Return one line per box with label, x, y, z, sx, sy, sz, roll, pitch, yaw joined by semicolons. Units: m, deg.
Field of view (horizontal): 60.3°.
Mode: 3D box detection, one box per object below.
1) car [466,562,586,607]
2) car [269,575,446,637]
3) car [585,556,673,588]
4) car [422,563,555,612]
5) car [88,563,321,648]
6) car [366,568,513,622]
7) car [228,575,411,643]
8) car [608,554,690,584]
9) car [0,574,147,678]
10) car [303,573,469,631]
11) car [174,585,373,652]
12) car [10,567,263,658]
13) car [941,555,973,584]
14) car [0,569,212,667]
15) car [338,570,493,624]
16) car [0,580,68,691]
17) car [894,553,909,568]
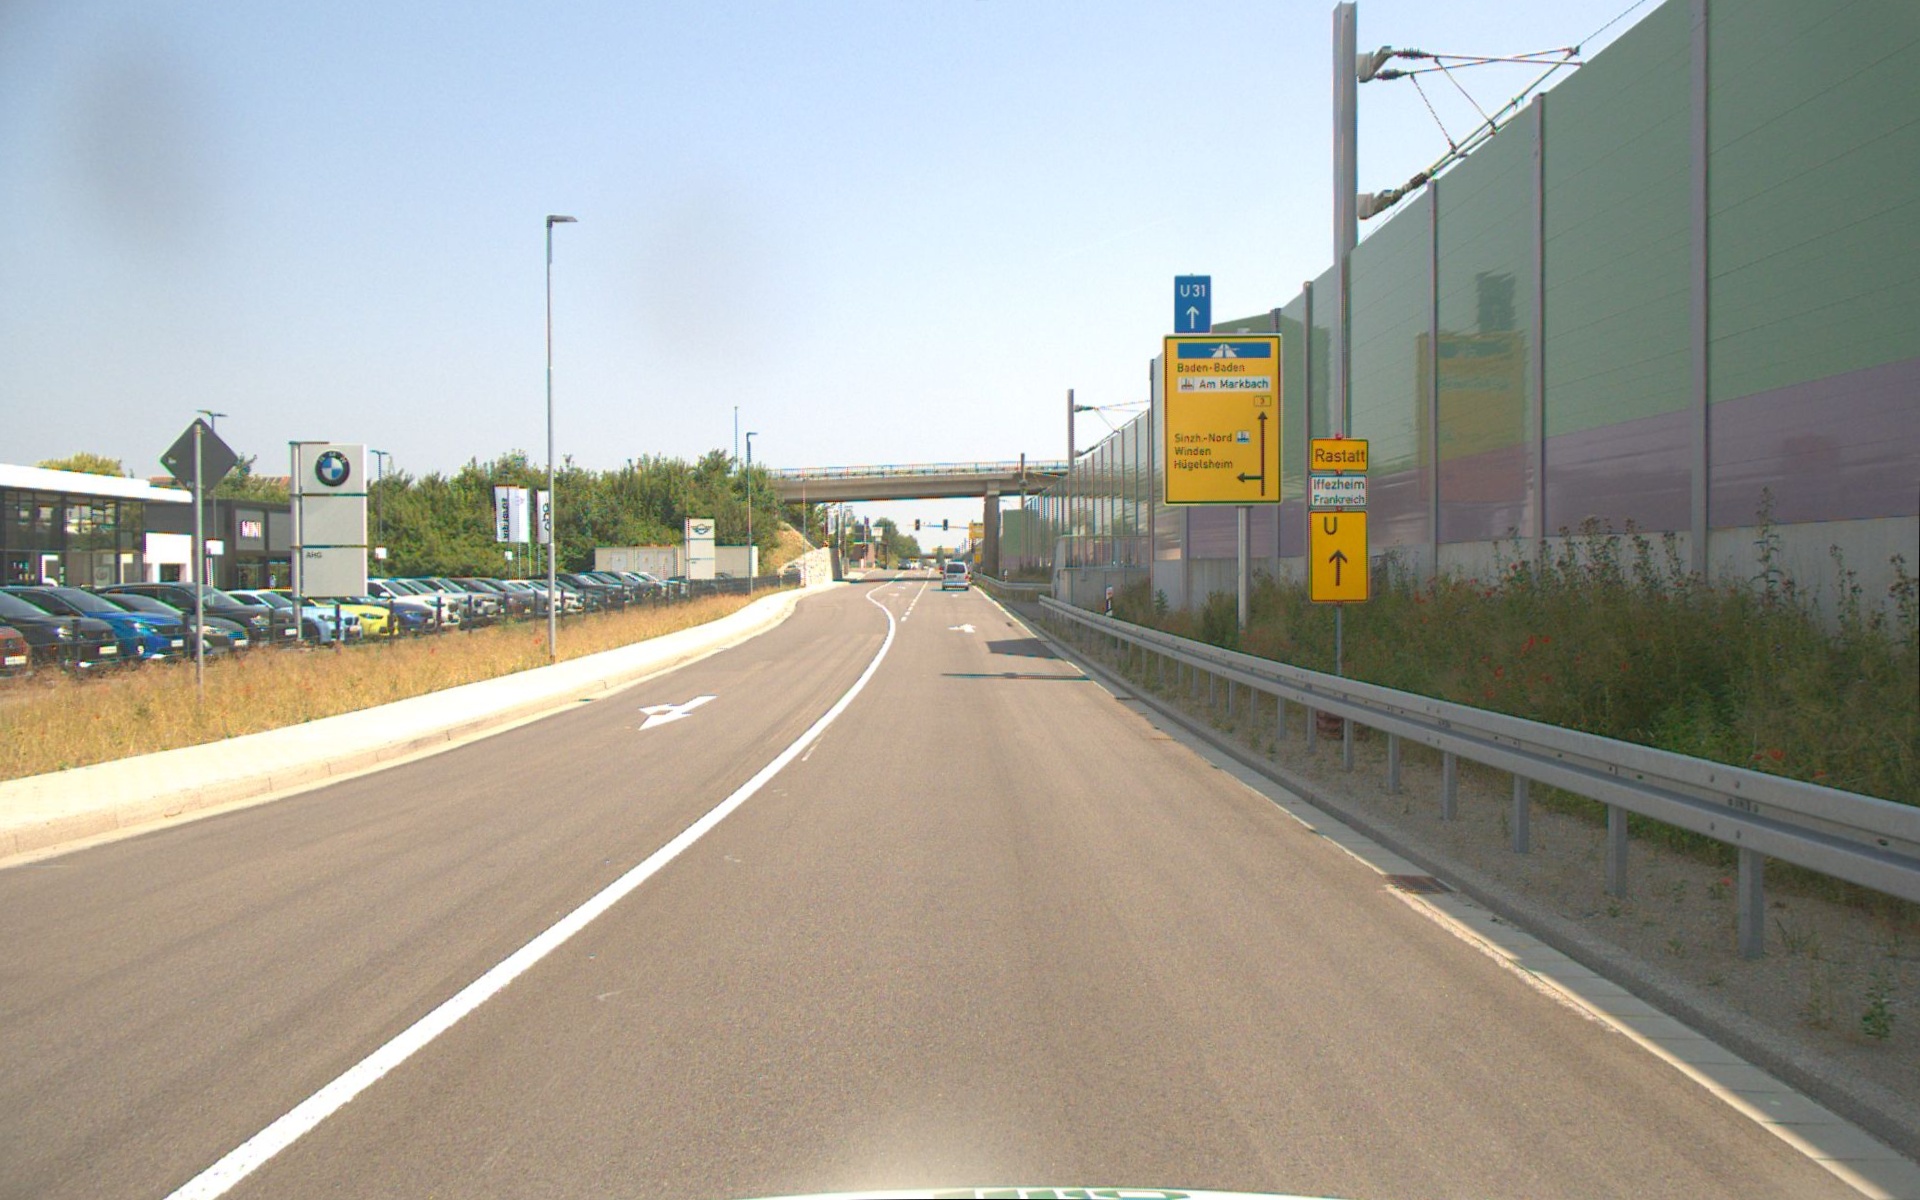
car;-16.616;-0.602;63.508;4.079;1.571;1.816;-1;2;-1
car;-16.246;0.145;44.737;4.079;1.491;1.816;-1;2;-1
car;-16.844;-1.440;84.257;4.079;1.491;1.816;-1;2;-1
car;-16.507;-0.462;58.042;4.079;1.571;1.816;-1;2;-1
car;-15.817;0.085;34.801;3.907;1.599;2.053;-1;2;-3
car;-16.651;-0.175;53.048;4.079;1.571;1.816;-1;2;-1
car;-16.245;0.203;42.097;3.905;1.561;1.816;-1;2;-1
car;-16.908;-1.672;89.973;4.079;1.491;1.816;-1;2;-1
car;-15.657;0.424;26.908;3.907;1.561;1.815;-1;2;-3
car;-16.455;0.036;47.514;4.079;1.491;1.816;-1;2;-1
car;-16.306;0.423;39.408;3.905;1.415;1.879;-1;2;0
car;-15.802;0.210;31.905;3.907;1.561;1.815;-1;2;-3
car;-0.178;-2.016;107.456;1.952;1.787;4.001;-1;2;1
car;-15.741;0.305;29.426;3.907;1.561;1.971;-1;2;-3
car;-16.552;-0.100;50.435;4.079;1.491;1.816;-1;2;-1
car;-15.637;0.548;24.327;3.907;1.520;1.914;-1;2;-3
car;-8.184;-5.566;232.392;1.953;1.959;4.000;-1;1;-1
